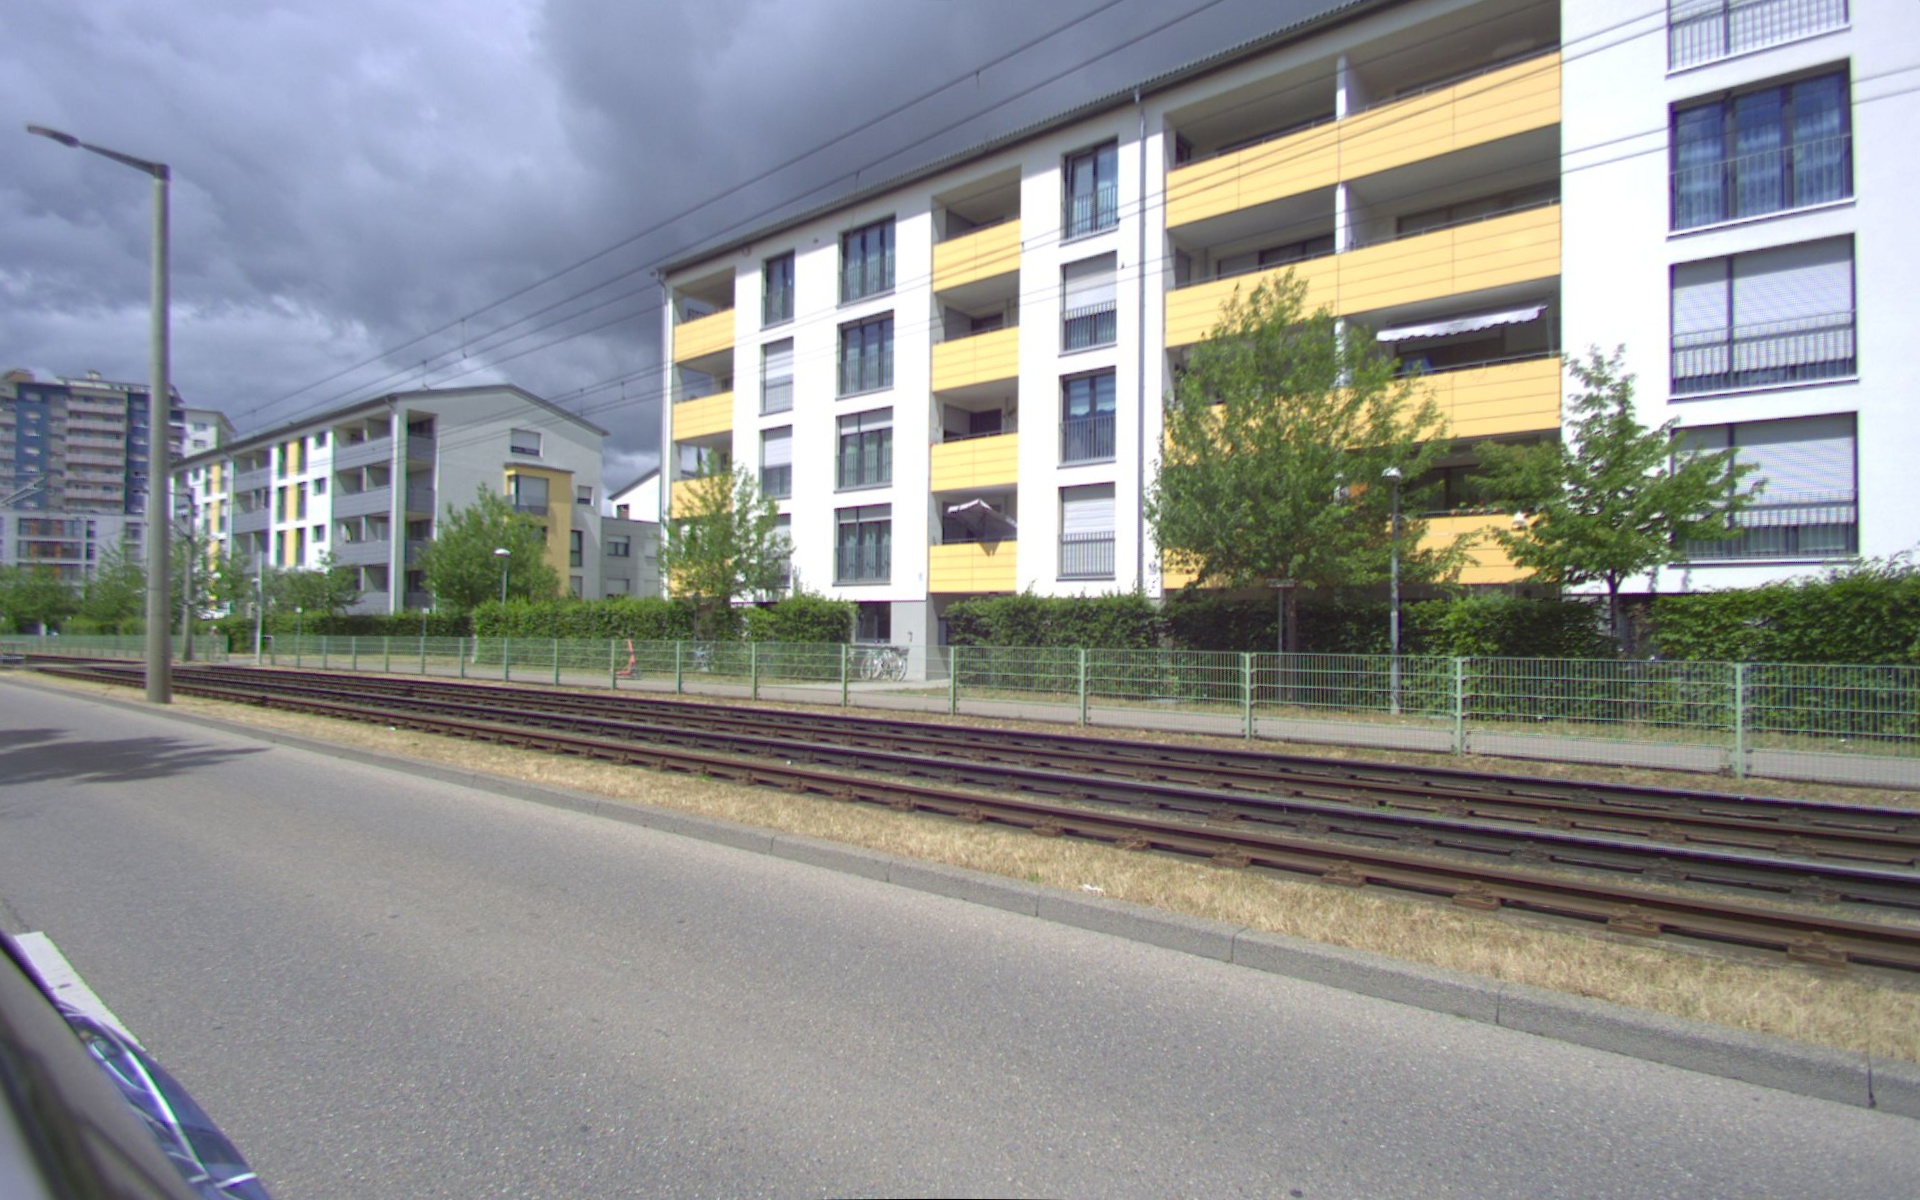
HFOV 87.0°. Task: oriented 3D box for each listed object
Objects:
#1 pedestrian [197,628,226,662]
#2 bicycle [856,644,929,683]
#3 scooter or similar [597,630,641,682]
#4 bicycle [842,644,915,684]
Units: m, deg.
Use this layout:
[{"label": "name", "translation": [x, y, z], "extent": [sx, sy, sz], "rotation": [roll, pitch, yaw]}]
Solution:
[{"label": "pedestrian", "translation": [-33.306, 1.997, 45.024], "extent": [0.994, 1.494, 0.789], "rotation": [-2, -2, 37]}, {"label": "bicycle", "translation": [-1.822, 1.676, 27.041], "extent": [2.212, 0.987, 0.549], "rotation": [-2, -2, 41]}, {"label": "scooter or similar", "translation": [-8.869, 1.449, 26.335], "extent": [1.301, 1.303, 0.485], "rotation": [-2, -2, 40]}, {"label": "bicycle", "translation": [-2.163, 1.661, 26.654], "extent": [2.212, 0.987, 0.549], "rotation": [-2, -2, 41]}]
